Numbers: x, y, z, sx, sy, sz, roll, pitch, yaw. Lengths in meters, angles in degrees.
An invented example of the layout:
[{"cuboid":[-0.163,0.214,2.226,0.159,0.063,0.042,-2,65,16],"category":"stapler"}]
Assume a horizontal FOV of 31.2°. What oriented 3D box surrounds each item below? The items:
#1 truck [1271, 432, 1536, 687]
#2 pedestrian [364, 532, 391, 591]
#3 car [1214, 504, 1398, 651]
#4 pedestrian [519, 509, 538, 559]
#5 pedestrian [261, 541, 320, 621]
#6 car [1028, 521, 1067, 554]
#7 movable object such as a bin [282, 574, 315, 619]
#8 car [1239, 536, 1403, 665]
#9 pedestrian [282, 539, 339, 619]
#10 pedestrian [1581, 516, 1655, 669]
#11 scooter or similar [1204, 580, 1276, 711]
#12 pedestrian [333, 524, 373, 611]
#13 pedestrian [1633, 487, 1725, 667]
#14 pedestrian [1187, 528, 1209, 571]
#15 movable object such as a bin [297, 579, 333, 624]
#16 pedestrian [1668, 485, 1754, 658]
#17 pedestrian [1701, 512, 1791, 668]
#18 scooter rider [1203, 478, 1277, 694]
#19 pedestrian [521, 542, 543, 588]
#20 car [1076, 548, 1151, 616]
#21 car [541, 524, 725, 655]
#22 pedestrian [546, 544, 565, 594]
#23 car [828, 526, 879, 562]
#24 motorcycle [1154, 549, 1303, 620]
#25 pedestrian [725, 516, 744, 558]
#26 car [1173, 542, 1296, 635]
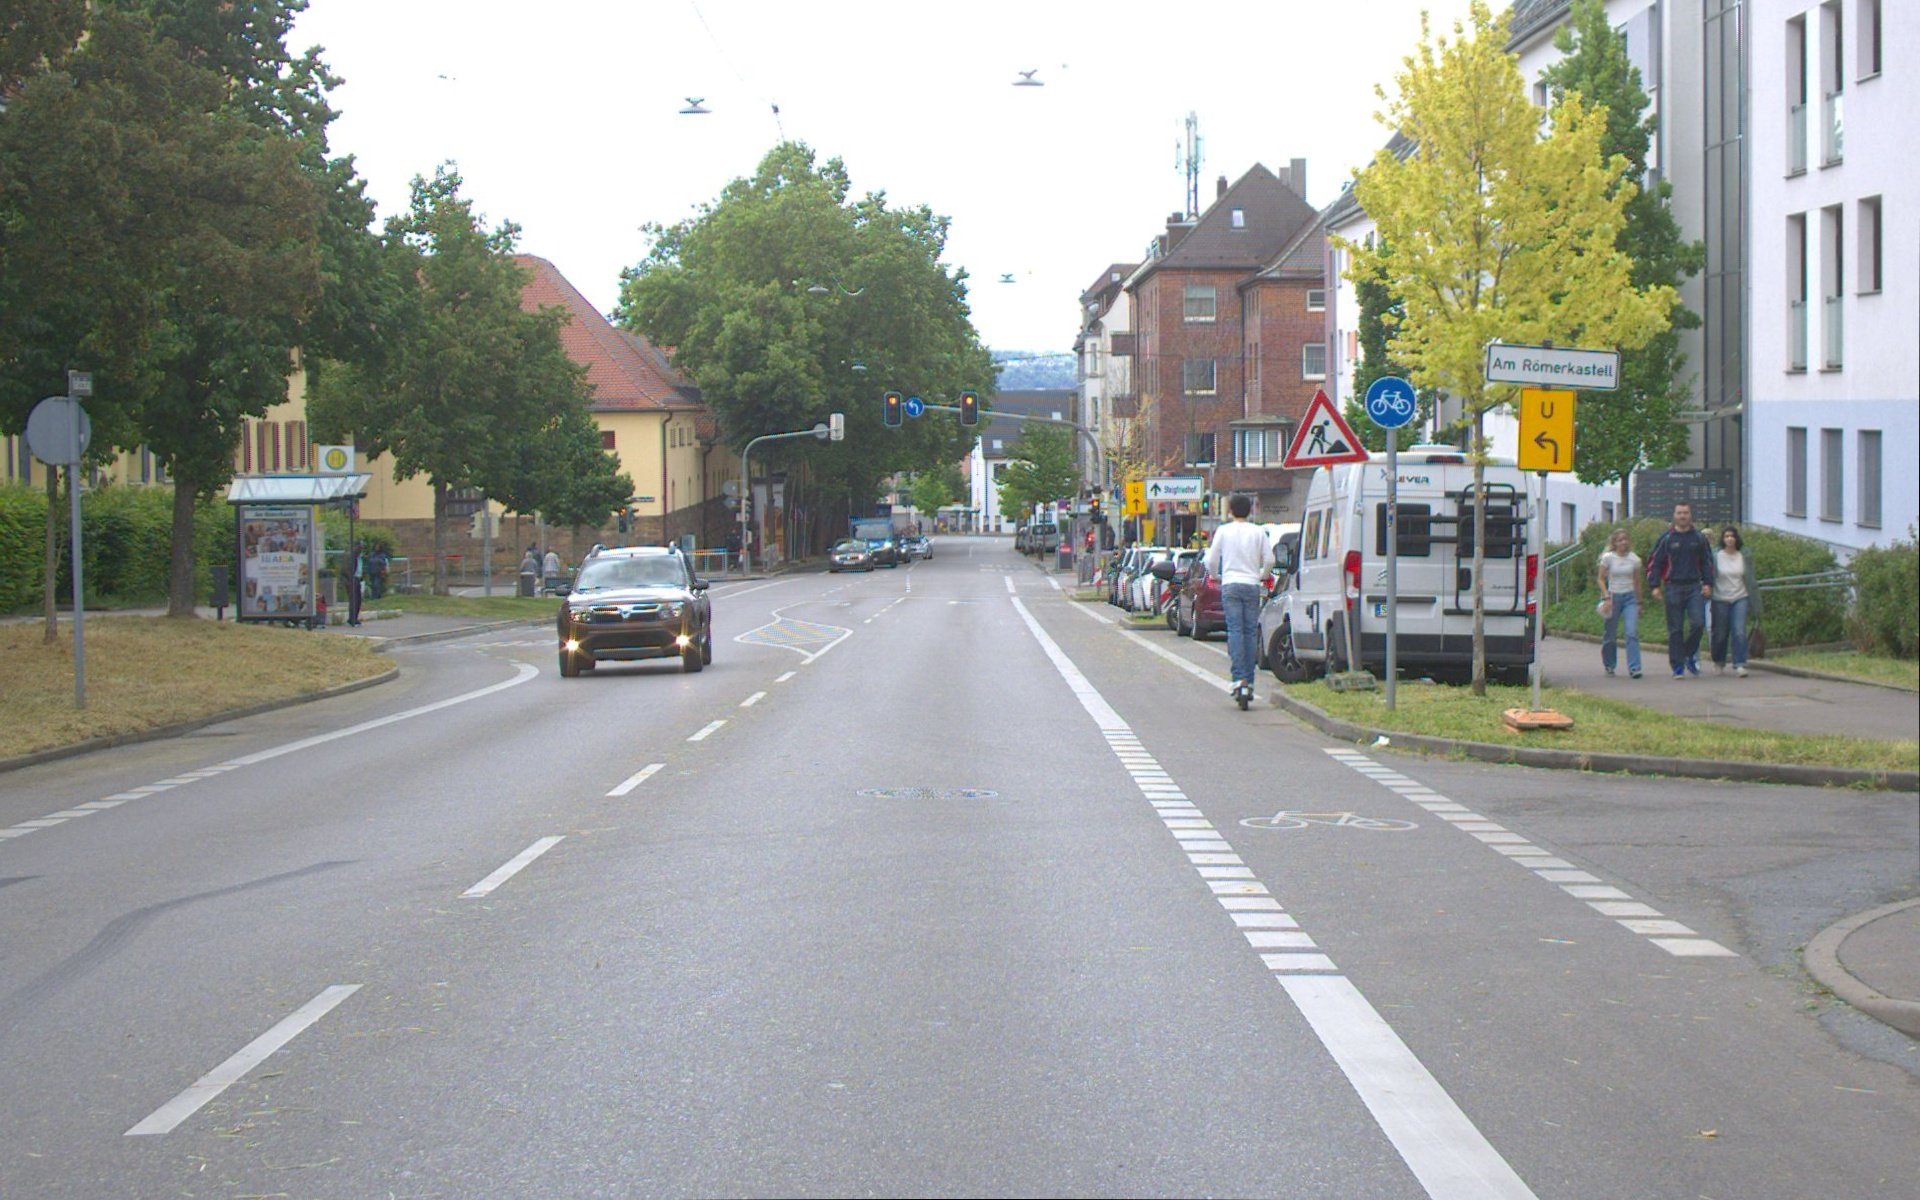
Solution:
[{"cuboid":[4.700,-0.455,37.281,2.052,2.557,5.690,0,1,-1],"category":"truck"},{"cuboid":[-15.974,-1.066,94.323,0.640,1.613,0.618,0,1,-1],"category":"pedestrian"},{"cuboid":[4.727,-0.342,47.711,1.993,1.937,5.211,0,1,0],"category":"car"},{"cuboid":[-15.244,-2.337,121.373,0.564,1.771,0.842,0,1,0],"category":"pedestrian"},{"cuboid":[-12.565,-0.364,64.539,0.899,1.469,0.806,1,1,1],"category":"pedestrian"},{"cuboid":[5.195,-3.685,204.234,1.993,1.929,4.919,0,1,-2],"category":"car"},{"cuboid":[-12.413,-0.068,64.556,0.464,0.823,0.665,1,1,1],"category":"movable object such as a bin"},{"cuboid":[4.407,-0.024,42.350,1.525,1.480,3.726,1,1,-1],"category":"car"},{"cuboid":[-12.506,-0.411,66.194,0.899,1.504,0.806,1,1,1],"category":"pedestrian"},{"cuboid":[7.150,-0.078,37.352,0.576,1.638,0.562,-1,-1,-14],"category":"pedestrian"},{"cuboid":[2.623,0.408,32.309,0.490,1.159,2.075,0,1,0],"category":"scooter or similar"},{"cuboid":[-12.066,-0.651,68.322,0.597,1.721,0.861,1,1,3],"category":"pedestrian"},{"cuboid":[7.615,-0.236,36.447,0.670,1.880,0.766,-1,-1,-12],"category":"pedestrian"},{"cuboid":[9.503,-2.018,137.235,0.788,1.650,0.772,-2,1,1],"category":"pedestrian"},{"cuboid":[-12.367,0.021,65.967,0.536,0.843,0.665,1,1,1],"category":"movable object such as a bin"},{"cuboid":[8.236,-0.309,37.717,0.670,1.880,0.620,-1,-1,-17],"category":"pedestrian"},{"cuboid":[8.372,-0.113,36.617,0.656,1.599,0.575,-5,1,-9],"category":"pedestrian"},{"cuboid":[2.624,-0.133,32.272,0.625,2.007,0.758,0,1,-1],"category":"scooter rider"},{"cuboid":[-14.396,-1.175,115.659,0.564,1.561,0.842,0,1,6],"category":"pedestrian"},{"cuboid":[4.024,-0.490,90.889,1.659,1.710,4.552,1,1,-1],"category":"car"},{"cuboid":[-4.167,-0.171,44.478,1.899,1.614,4.362,0,1,1],"category":"car"},{"cuboid":[-14.285,-1.087,121.398,0.564,1.771,0.717,0,1,0],"category":"pedestrian"},{"cuboid":[-4.518,-2.378,146.069,1.756,1.467,4.306,-1,1,3],"category":"car"},{"cuboid":[4.850,-0.290,62.153,2.597,1.274,0.753,0,1,-3],"category":"motorcycle"},{"cuboid":[-9.420,-2.636,143.650,0.674,1.759,0.725,0,1,6],"category":"pedestrian"},{"cuboid":[4.673,-0.229,59.038,1.680,1.539,4.339,0,1,-1],"category":"car"}]
